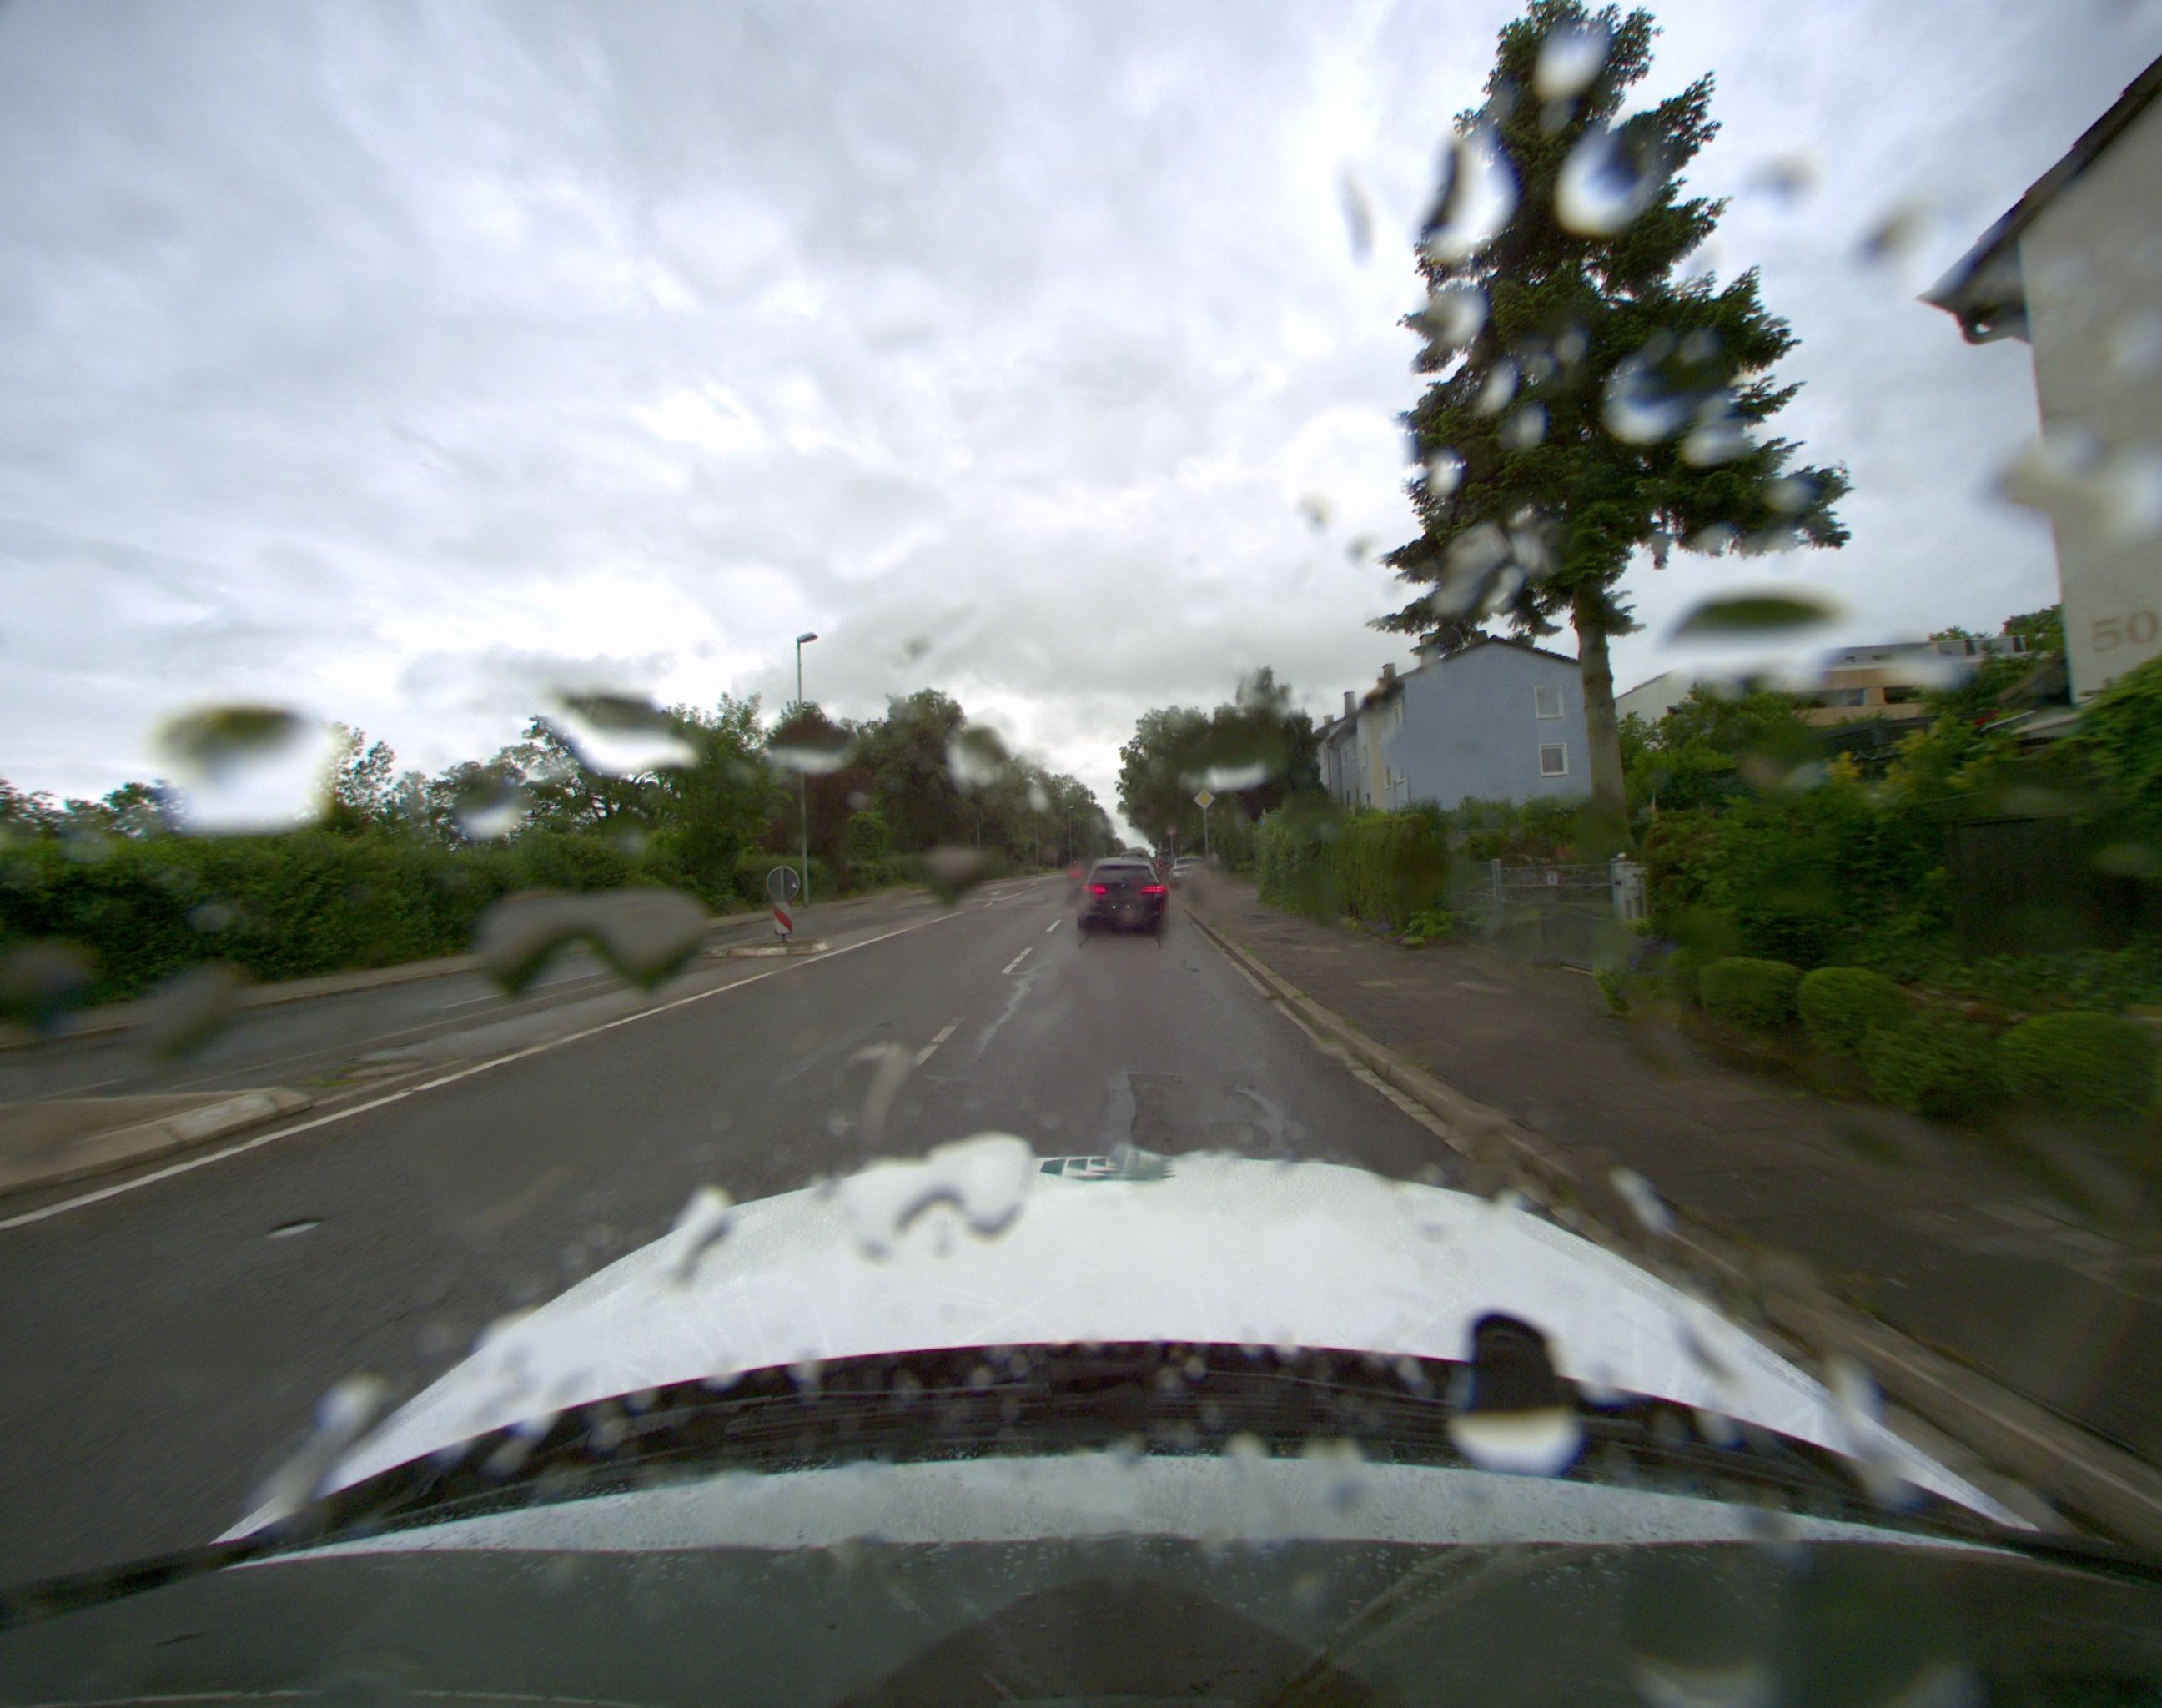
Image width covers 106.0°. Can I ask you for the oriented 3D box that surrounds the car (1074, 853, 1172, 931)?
[{"bbox_3d":[0.938,0.733,17.734,1.889,1.489,4.004,0,0,3],"label":"car"}]

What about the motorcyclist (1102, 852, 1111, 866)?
[{"bbox_3d":[2.916,0.542,92.616,1.035,1.567,0.855,0,-1,2],"label":"motorcyclist"}]

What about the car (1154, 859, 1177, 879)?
[{"bbox_3d":[6.733,1.165,64.848,1.583,1.486,3.565,-2,0,3],"label":"car"}]

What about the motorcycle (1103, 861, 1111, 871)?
[{"bbox_3d":[2.915,1.351,92.579,0.872,1.124,2.742,0,0,2],"label":"motorcycle"}]

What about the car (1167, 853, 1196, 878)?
[{"bbox_3d":[6.316,0.724,51.436,1.583,1.460,3.565,-2,0,3],"label":"car"}]

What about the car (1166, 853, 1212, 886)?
[{"bbox_3d":[5.117,0.683,39.017,1.926,1.442,4.414,-2,0,5],"label":"car"}]

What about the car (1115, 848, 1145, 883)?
[{"bbox_3d":[2.819,0.622,47.371,1.623,1.833,4.002,-3,0,2],"label":"car"}]
